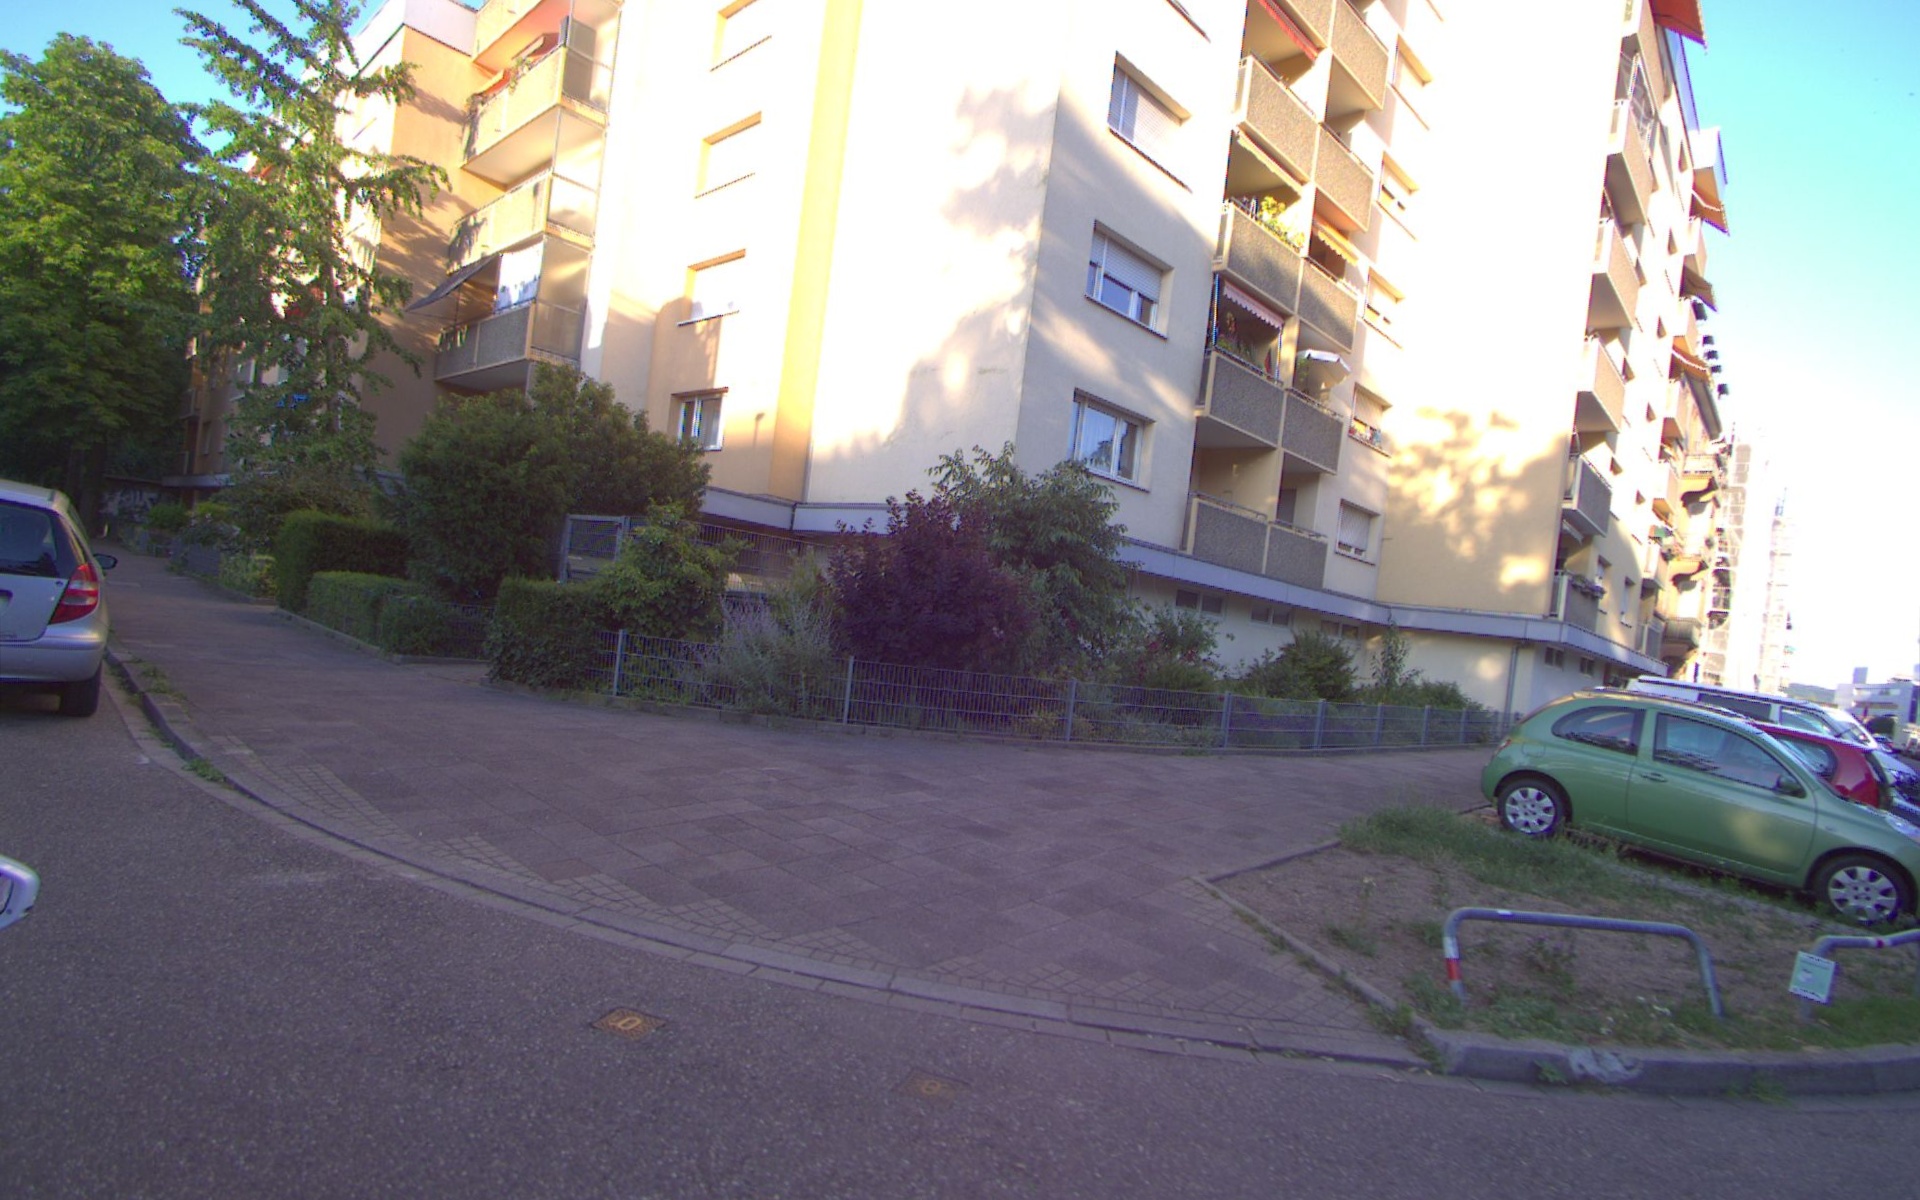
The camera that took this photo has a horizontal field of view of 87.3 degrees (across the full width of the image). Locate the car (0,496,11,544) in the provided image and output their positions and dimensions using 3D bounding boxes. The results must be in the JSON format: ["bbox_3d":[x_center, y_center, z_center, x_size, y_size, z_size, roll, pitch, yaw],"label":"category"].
[{"bbox_3d":[-31.712,-2.714,32.347,1.602,1.399,3.950,7,0,-43],"label":"car"}]

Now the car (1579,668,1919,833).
[{"bbox_3d":[15.236,2.772,19.526,5.008,2.111,1.990,8,0,43],"label":"car"}]

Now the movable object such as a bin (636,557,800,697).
[{"bbox_3d":[-3.000,0.329,12.435,1.560,1.489,1.122,8,1,41],"label":"movable object such as a bin"}]

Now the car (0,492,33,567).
[{"bbox_3d":[-21.536,-1.667,21.996,1.606,1.479,4.002,7,0,-45],"label":"car"}]

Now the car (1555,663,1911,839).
[{"bbox_3d":[11.750,2.205,15.591,3.992,1.835,1.822,8,0,38],"label":"car"}]

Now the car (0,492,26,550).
[{"bbox_3d":[-28.085,-2.377,28.915,3.433,1.529,1.606,7,0,45],"label":"car"}]

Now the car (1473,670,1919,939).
[{"bbox_3d":[6.987,1.763,9.339,3.519,1.531,1.621,10,1,41],"label":"car"}]

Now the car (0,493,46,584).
[{"bbox_3d":[-17.879,-1.263,18.127,1.805,1.434,4.566,7,0,-45],"label":"car"}]

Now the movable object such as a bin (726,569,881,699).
[{"bbox_3d":[-2.108,0.451,13.507,1.560,1.489,1.181,8,1,41],"label":"movable object such as a bin"}]

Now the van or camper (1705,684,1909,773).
[{"bbox_3d":[34.503,5.178,41.186,6.018,2.521,2.186,8,0,42],"label":"van or camper"}]

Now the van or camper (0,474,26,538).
[{"bbox_3d":[-35.247,-3.574,36.165,5.023,2.122,2.060,8,0,44],"label":"van or camper"}]

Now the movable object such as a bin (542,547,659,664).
[{"bbox_3d":[-4.994,0.069,13.963,1.282,1.433,0.875,8,1,41],"label":"movable object such as a bin"}]

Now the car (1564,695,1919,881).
[{"bbox_3d":[10.392,2.353,13.160,3.940,1.571,1.822,8,0,38],"label":"car"}]

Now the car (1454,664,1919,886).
[{"bbox_3d":[8.105,1.833,11.563,3.940,1.571,1.822,8,0,38],"label":"car"}]

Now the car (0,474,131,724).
[{"bbox_3d":[-7.712,-0.195,7.581,3.834,1.595,1.805,7,0,45],"label":"car"}]

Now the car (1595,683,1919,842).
[{"bbox_3d":[13.578,2.680,17.432,4.050,1.835,1.822,8,0,38],"label":"car"}]

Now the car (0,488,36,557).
[{"bbox_3d":[-24.877,-2.113,25.572,4.139,1.582,1.787,7,0,45],"label":"car"}]

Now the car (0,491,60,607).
[{"bbox_3d":[-13.992,-0.870,14.091,1.805,1.434,3.846,7,0,-45],"label":"car"}]

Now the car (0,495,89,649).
[{"bbox_3d":[-10.911,-0.463,11.014,3.975,1.436,1.713,7,0,45],"label":"car"}]
